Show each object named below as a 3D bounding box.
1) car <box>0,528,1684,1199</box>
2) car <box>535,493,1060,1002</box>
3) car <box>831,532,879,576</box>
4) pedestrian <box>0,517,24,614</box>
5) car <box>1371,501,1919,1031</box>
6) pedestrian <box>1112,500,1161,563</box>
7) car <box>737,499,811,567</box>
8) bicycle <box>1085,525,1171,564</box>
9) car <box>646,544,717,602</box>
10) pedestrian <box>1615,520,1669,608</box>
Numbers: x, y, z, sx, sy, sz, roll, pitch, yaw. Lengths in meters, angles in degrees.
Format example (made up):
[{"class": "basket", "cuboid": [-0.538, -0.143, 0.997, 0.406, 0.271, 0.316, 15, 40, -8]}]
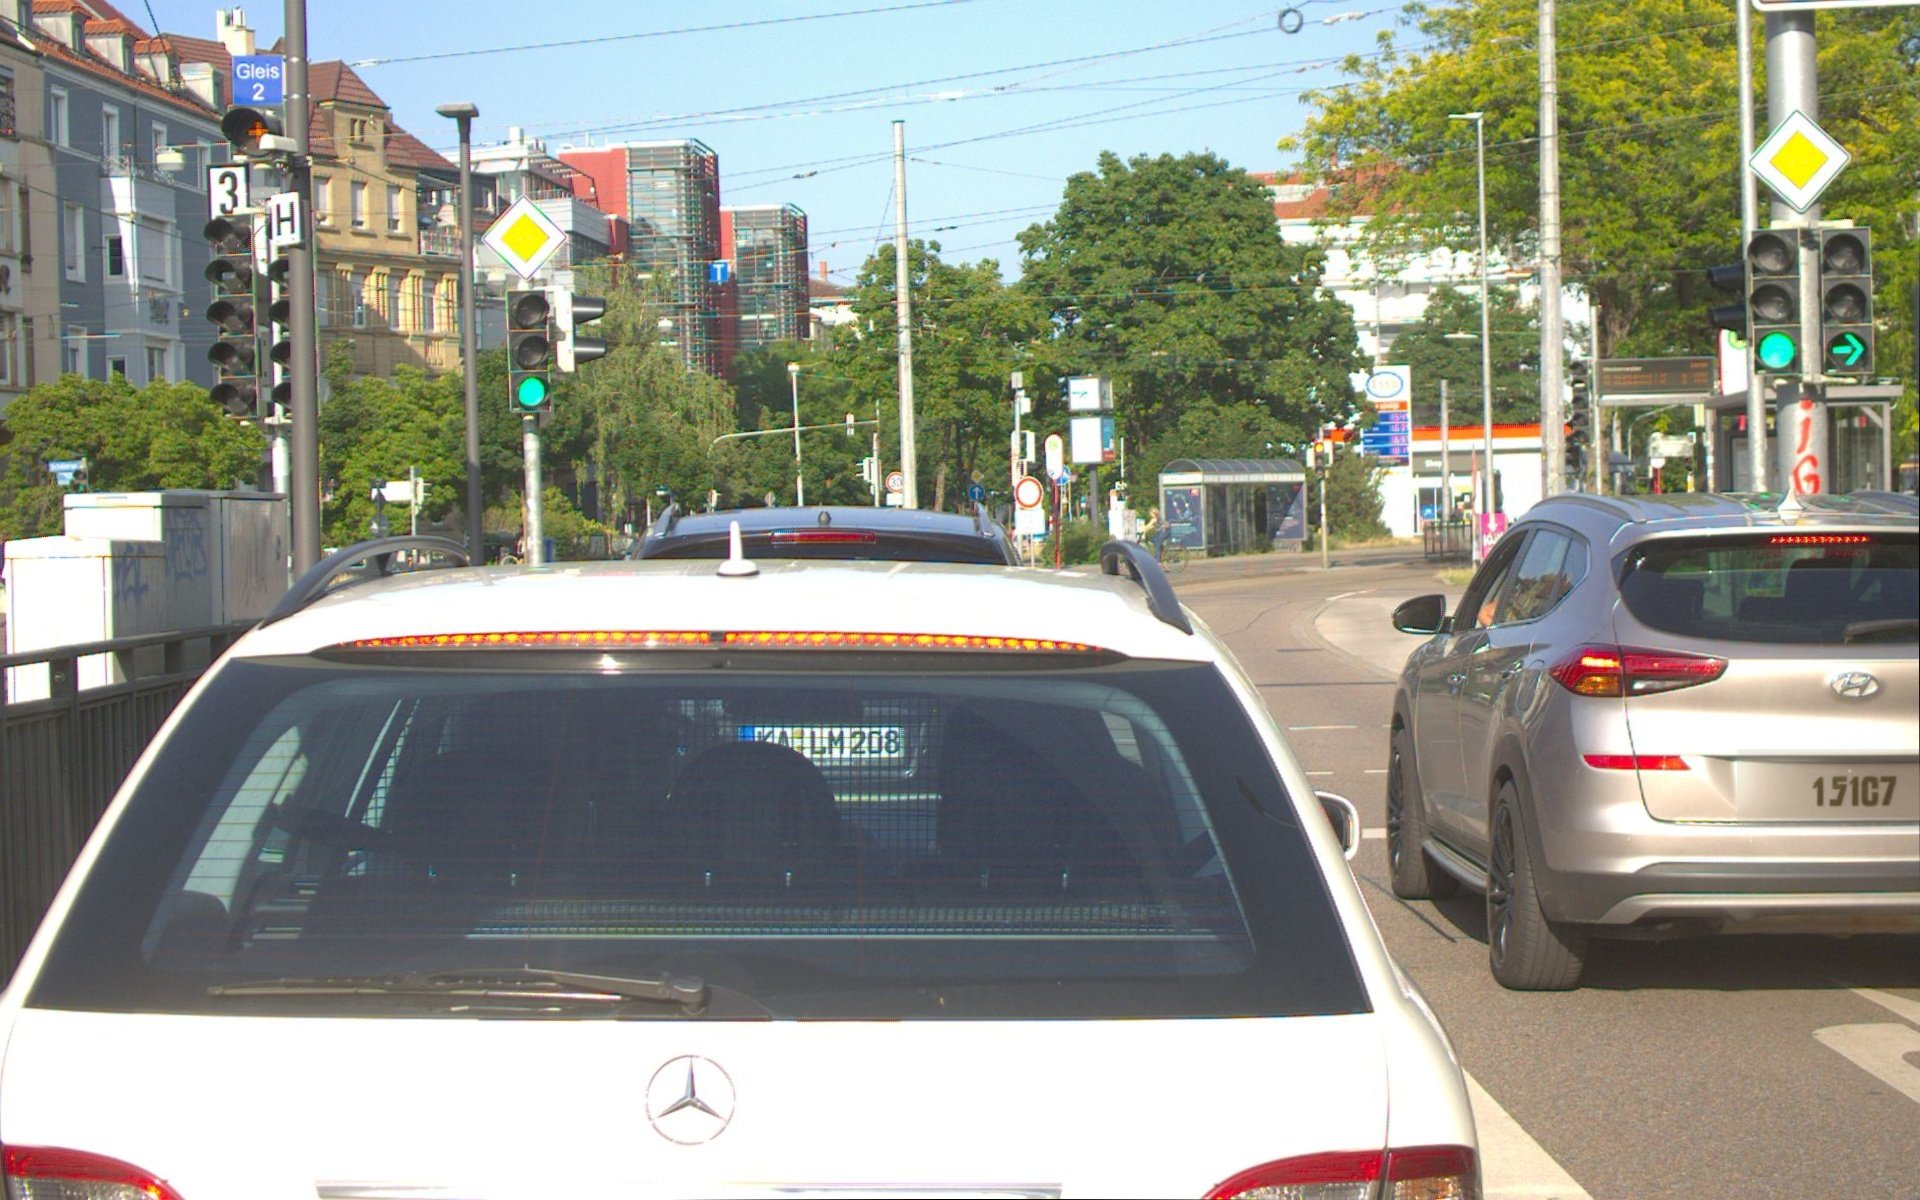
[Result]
[{"class": "car", "cuboid": [-0.278, 0.646, 5.060, 1.835, 1.496, 3.815, 0, 1, -1]}, {"class": "car", "cuboid": [-0.531, 0.422, 12.675, 1.641, 1.594, 3.815, 0, 1, -1]}, {"class": "car", "cuboid": [-4.093, -1.817, 134.677, 1.767, 1.489, 4.745, -2, 3, -1]}, {"class": "pedestrian", "cuboid": [-18.871, -0.675, 67.834, 0.584, 1.874, 0.627, -2, 3, -3]}, {"class": "car", "cuboid": [2.634, 0.460, 12.258, 1.835, 1.594, 3.815, 0, 1, -1]}, {"class": "pedestrian", "cuboid": [4.538, -1.758, 88.289, 1.007, 1.586, 0.865, -1, 1, 19]}, {"class": "car", "cuboid": [-6.351, -2.321, 117.941, 2.177, 2.231, 5.253, -2, 2, 0]}, {"class": "bicycle", "cuboid": [4.316, -1.437, 88.382, 2.019, 0.943, 0.878, -1, 1, 19]}, {"class": "car", "cuboid": [-8.152, -0.804, 100.845, 1.676, 1.520, 4.125, -2, 2, 0]}, {"class": "pedestrian", "cuboid": [15.875, -0.842, 80.023, 0.997, 2.007, 0.827, -1, 1, 27]}]
